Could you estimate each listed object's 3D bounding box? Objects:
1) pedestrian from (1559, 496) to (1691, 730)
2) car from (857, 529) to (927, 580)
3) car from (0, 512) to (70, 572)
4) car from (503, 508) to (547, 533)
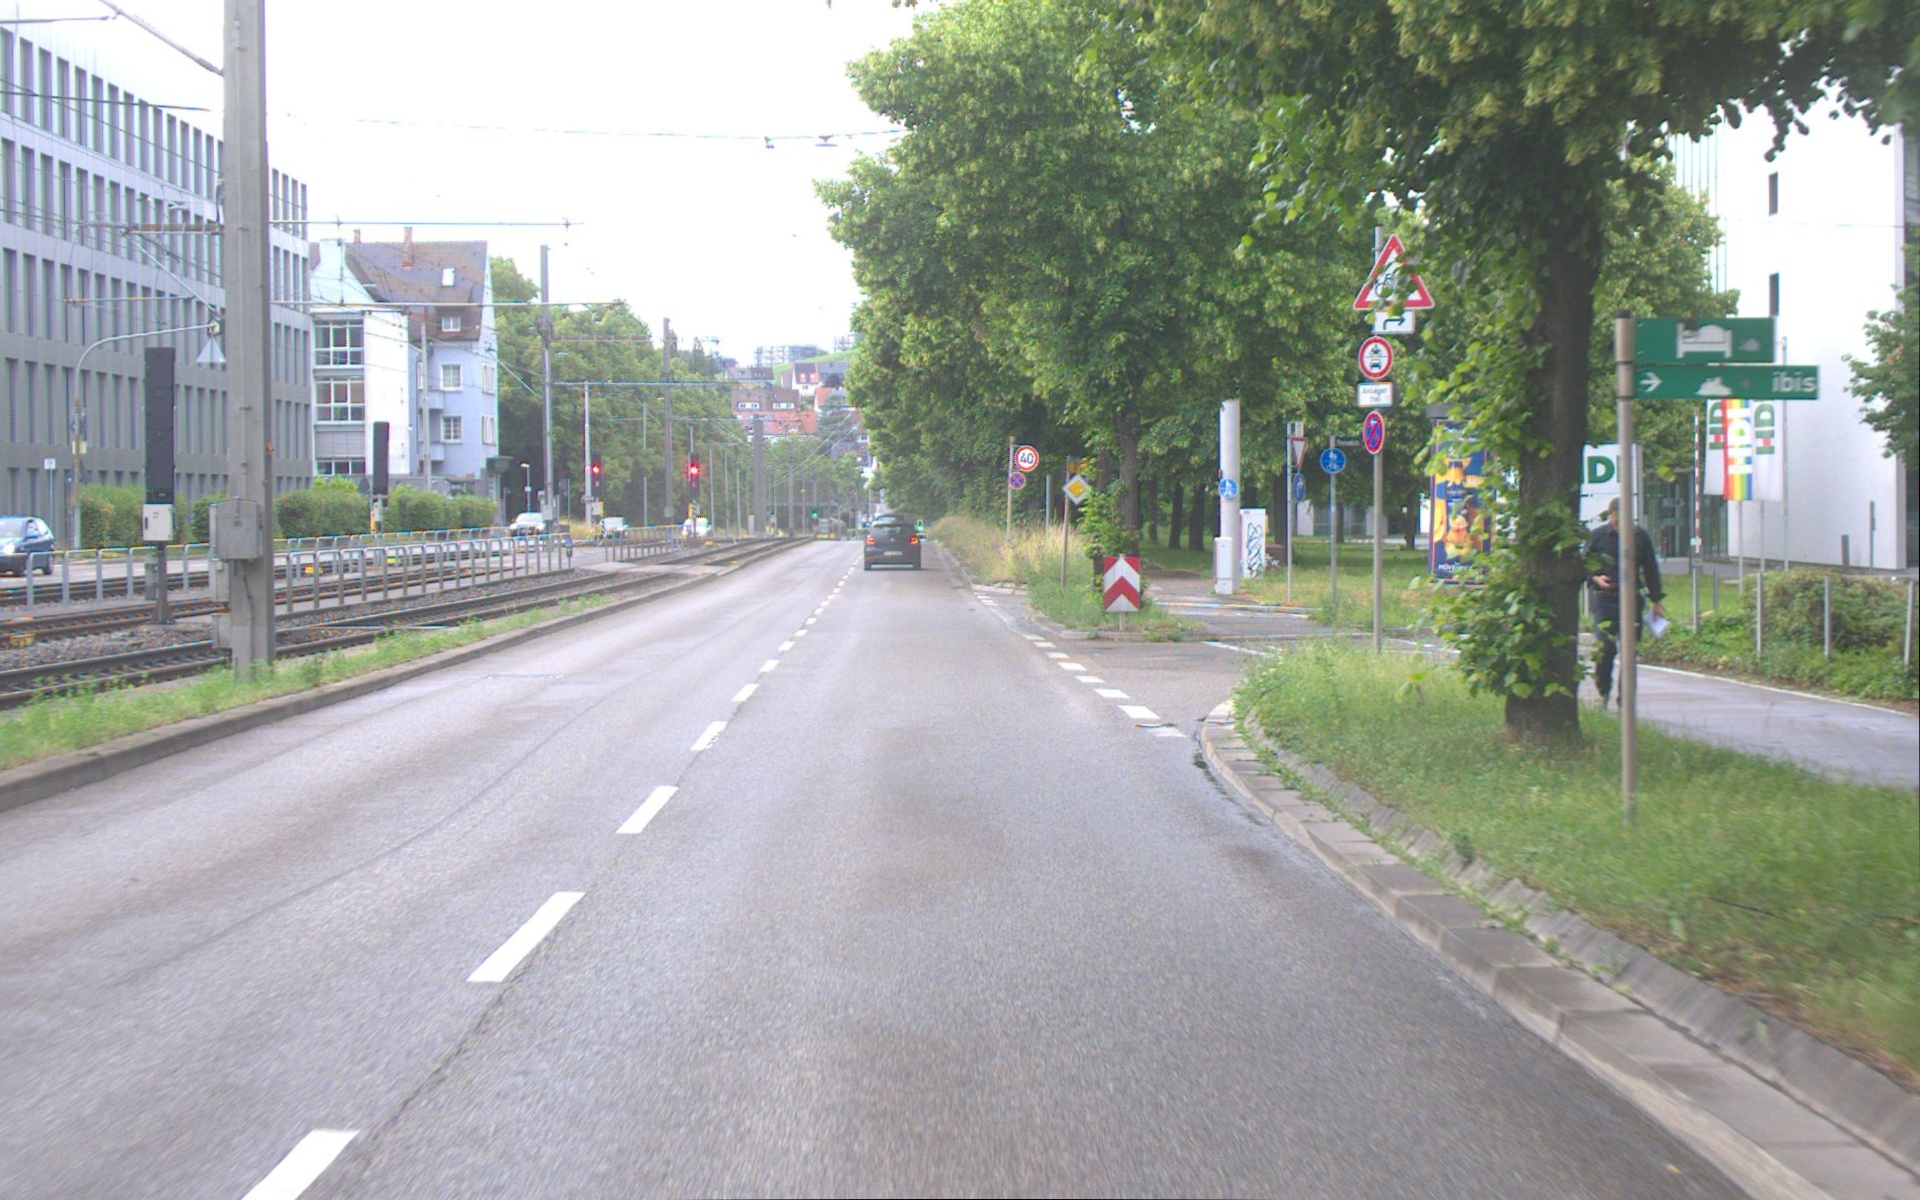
[{"bbox_3d":[5.223,0.093,27.041,0.826,1.791,0.868,1,1,0],"label":"pedestrian"},{"bbox_3d":[-1.972,-1.354,100.630,1.982,1.435,4.474,0,1,-1],"label":"car"},{"bbox_3d":[-22.788,-1.409,82.401,1.761,1.392,3.900,0,1,2],"label":"car"},{"bbox_3d":[-22.041,-4.044,174.343,1.756,1.239,3.988,0,1,-1],"label":"car"}]
